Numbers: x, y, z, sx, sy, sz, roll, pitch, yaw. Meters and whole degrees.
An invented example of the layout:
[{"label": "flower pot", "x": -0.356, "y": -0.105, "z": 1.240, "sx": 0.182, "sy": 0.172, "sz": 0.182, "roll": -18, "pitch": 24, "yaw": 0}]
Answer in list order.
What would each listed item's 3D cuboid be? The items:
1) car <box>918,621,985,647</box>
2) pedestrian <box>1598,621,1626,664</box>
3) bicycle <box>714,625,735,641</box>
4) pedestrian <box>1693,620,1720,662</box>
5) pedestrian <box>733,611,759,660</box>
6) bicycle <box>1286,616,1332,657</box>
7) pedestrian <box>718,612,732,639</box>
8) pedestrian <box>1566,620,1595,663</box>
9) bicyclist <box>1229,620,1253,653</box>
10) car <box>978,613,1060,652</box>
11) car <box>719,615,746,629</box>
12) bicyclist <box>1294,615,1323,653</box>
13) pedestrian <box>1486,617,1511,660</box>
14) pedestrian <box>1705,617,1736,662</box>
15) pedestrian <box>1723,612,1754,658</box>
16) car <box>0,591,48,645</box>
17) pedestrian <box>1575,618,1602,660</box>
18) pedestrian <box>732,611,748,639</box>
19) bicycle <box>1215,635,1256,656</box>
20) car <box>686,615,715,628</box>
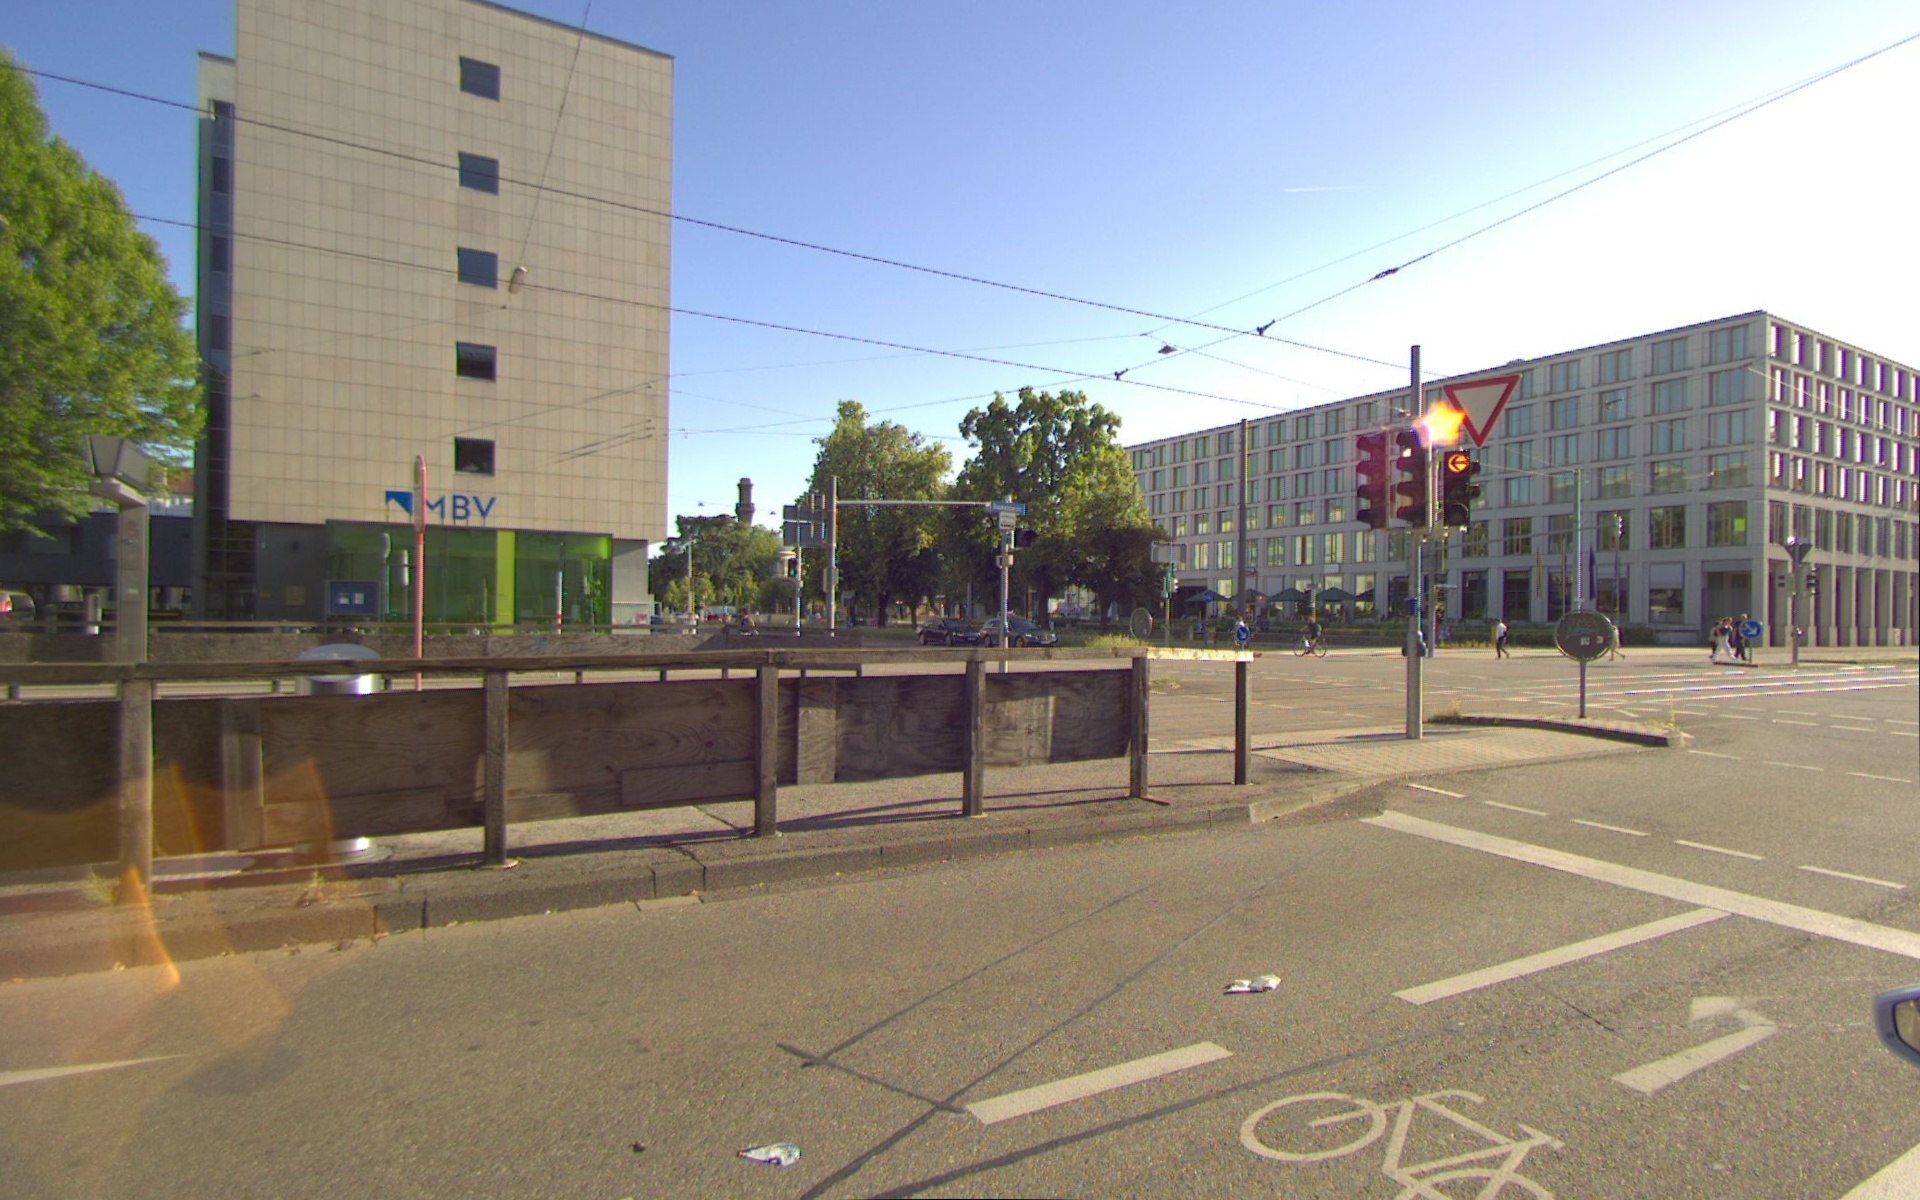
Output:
[{"label": "car", "x": -0.479, "y": 1.785, "z": 53.394, "sx": 1.755, "sy": 1.311, "sz": 4.209, "roll": 1, "pitch": -1, "yaw": -30}, {"label": "pedestrian", "x": 28.199, "y": 1.837, "z": 43.443, "sx": 0.525, "sy": 1.827, "sz": 0.867, "roll": 1, "pitch": -1, "yaw": -24}, {"label": "bicycle", "x": -15.217, "y": 2.117, "z": 64.926, "sx": 0.669, "sy": 0.973, "sz": 2.131, "roll": 1, "pitch": -1, "yaw": -32}, {"label": "pedestrian", "x": 29.502, "y": 1.614, "z": 39.700, "sx": 0.614, "sy": 1.666, "sz": 0.691, "roll": 1, "pitch": -1, "yaw": -29}, {"label": "pedestrian", "x": -7.633, "y": 1.260, "z": 35.813, "sx": 0.814, "sy": 1.739, "sz": 0.757, "roll": 1, "pitch": -1, "yaw": -18}, {"label": "bicycle", "x": 15.475, "y": 1.615, "z": 44.545, "sx": 0.593, "sy": 1.758, "sz": 1.879, "roll": 1, "pitch": -1, "yaw": -43}, {"label": "pedestrian", "x": -15.158, "y": 1.623, "z": 64.837, "sx": 0.666, "sy": 1.739, "sz": 0.754, "roll": 1, "pitch": -1, "yaw": -32}, {"label": "pedestrian", "x": 26.776, "y": 1.796, "z": 43.351, "sx": 0.654, "sy": 1.827, "sz": 0.868, "roll": 1, "pitch": -1, "yaw": -24}, {"label": "bicyclist", "x": 13.406, "y": 1.740, "z": 47.972, "sx": 0.569, "sy": 1.581, "sz": 0.969, "roll": 1, "pitch": -1, "yaw": -33}, {"label": "car", "x": 2.742, "y": 1.517, "z": 47.869, "sx": 1.829, "sy": 1.602, "sz": 4.496, "roll": 1, "pitch": 1, "yaw": -28}, {"label": "car", "x": -24.398, "y": 2.322, "z": 107.517, "sx": 1.614, "sy": 1.452, "sz": 4.021, "roll": 3, "pitch": -2, "yaw": -31}, {"label": "bicyclist", "x": 15.449, "y": 1.516, "z": 44.577, "sx": 0.593, "sy": 1.662, "sz": 1.064, "roll": 1, "pitch": -1, "yaw": -43}, {"label": "pedestrian", "x": 24.768, "y": 1.753, "z": 46.225, "sx": 0.628, "sy": 1.943, "sz": 0.800, "roll": 1, "pitch": -1, "yaw": -24}, {"label": "pedestrian", "x": 28.330, "y": 1.461, "z": 37.411, "sx": 0.615, "sy": 1.666, "sz": 0.787, "roll": 1, "pitch": -1, "yaw": -34}, {"label": "pedestrian", "x": 30.720, "y": 1.383, "z": 39.649, "sx": 0.668, "sy": 1.784, "sz": 0.746, "roll": 2, "pitch": -2, "yaw": -25}, {"label": "car", "x": -27.740, "y": 0.454, "z": 27.750, "sx": 3.371, "sy": 1.431, "sz": 1.562, "roll": 2, "pitch": 0, "yaw": -20}, {"label": "pedestrian", "x": 27.770, "y": 1.716, "z": 44.365, "sx": 0.706, "sy": 1.827, "sz": 0.737, "roll": 1, "pitch": -1, "yaw": -24}, {"label": "pedestrian", "x": -14.404, "y": 1.652, "z": 65.746, "sx": 0.818, "sy": 1.829, "sz": 0.754, "roll": 1, "pitch": -1, "yaw": -31}, {"label": "bicycle", "x": 13.224, "y": 2.191, "z": 48.242, "sx": 0.569, "sy": 0.945, "sz": 2.052, "roll": 1, "pitch": -1, "yaw": -33}, {"label": "car", "x": -30.545, "y": 2.525, "z": 118.126, "sx": 1.978, "sy": 1.433, "sz": 4.710, "roll": 4, "pitch": -2, "yaw": -31}]
